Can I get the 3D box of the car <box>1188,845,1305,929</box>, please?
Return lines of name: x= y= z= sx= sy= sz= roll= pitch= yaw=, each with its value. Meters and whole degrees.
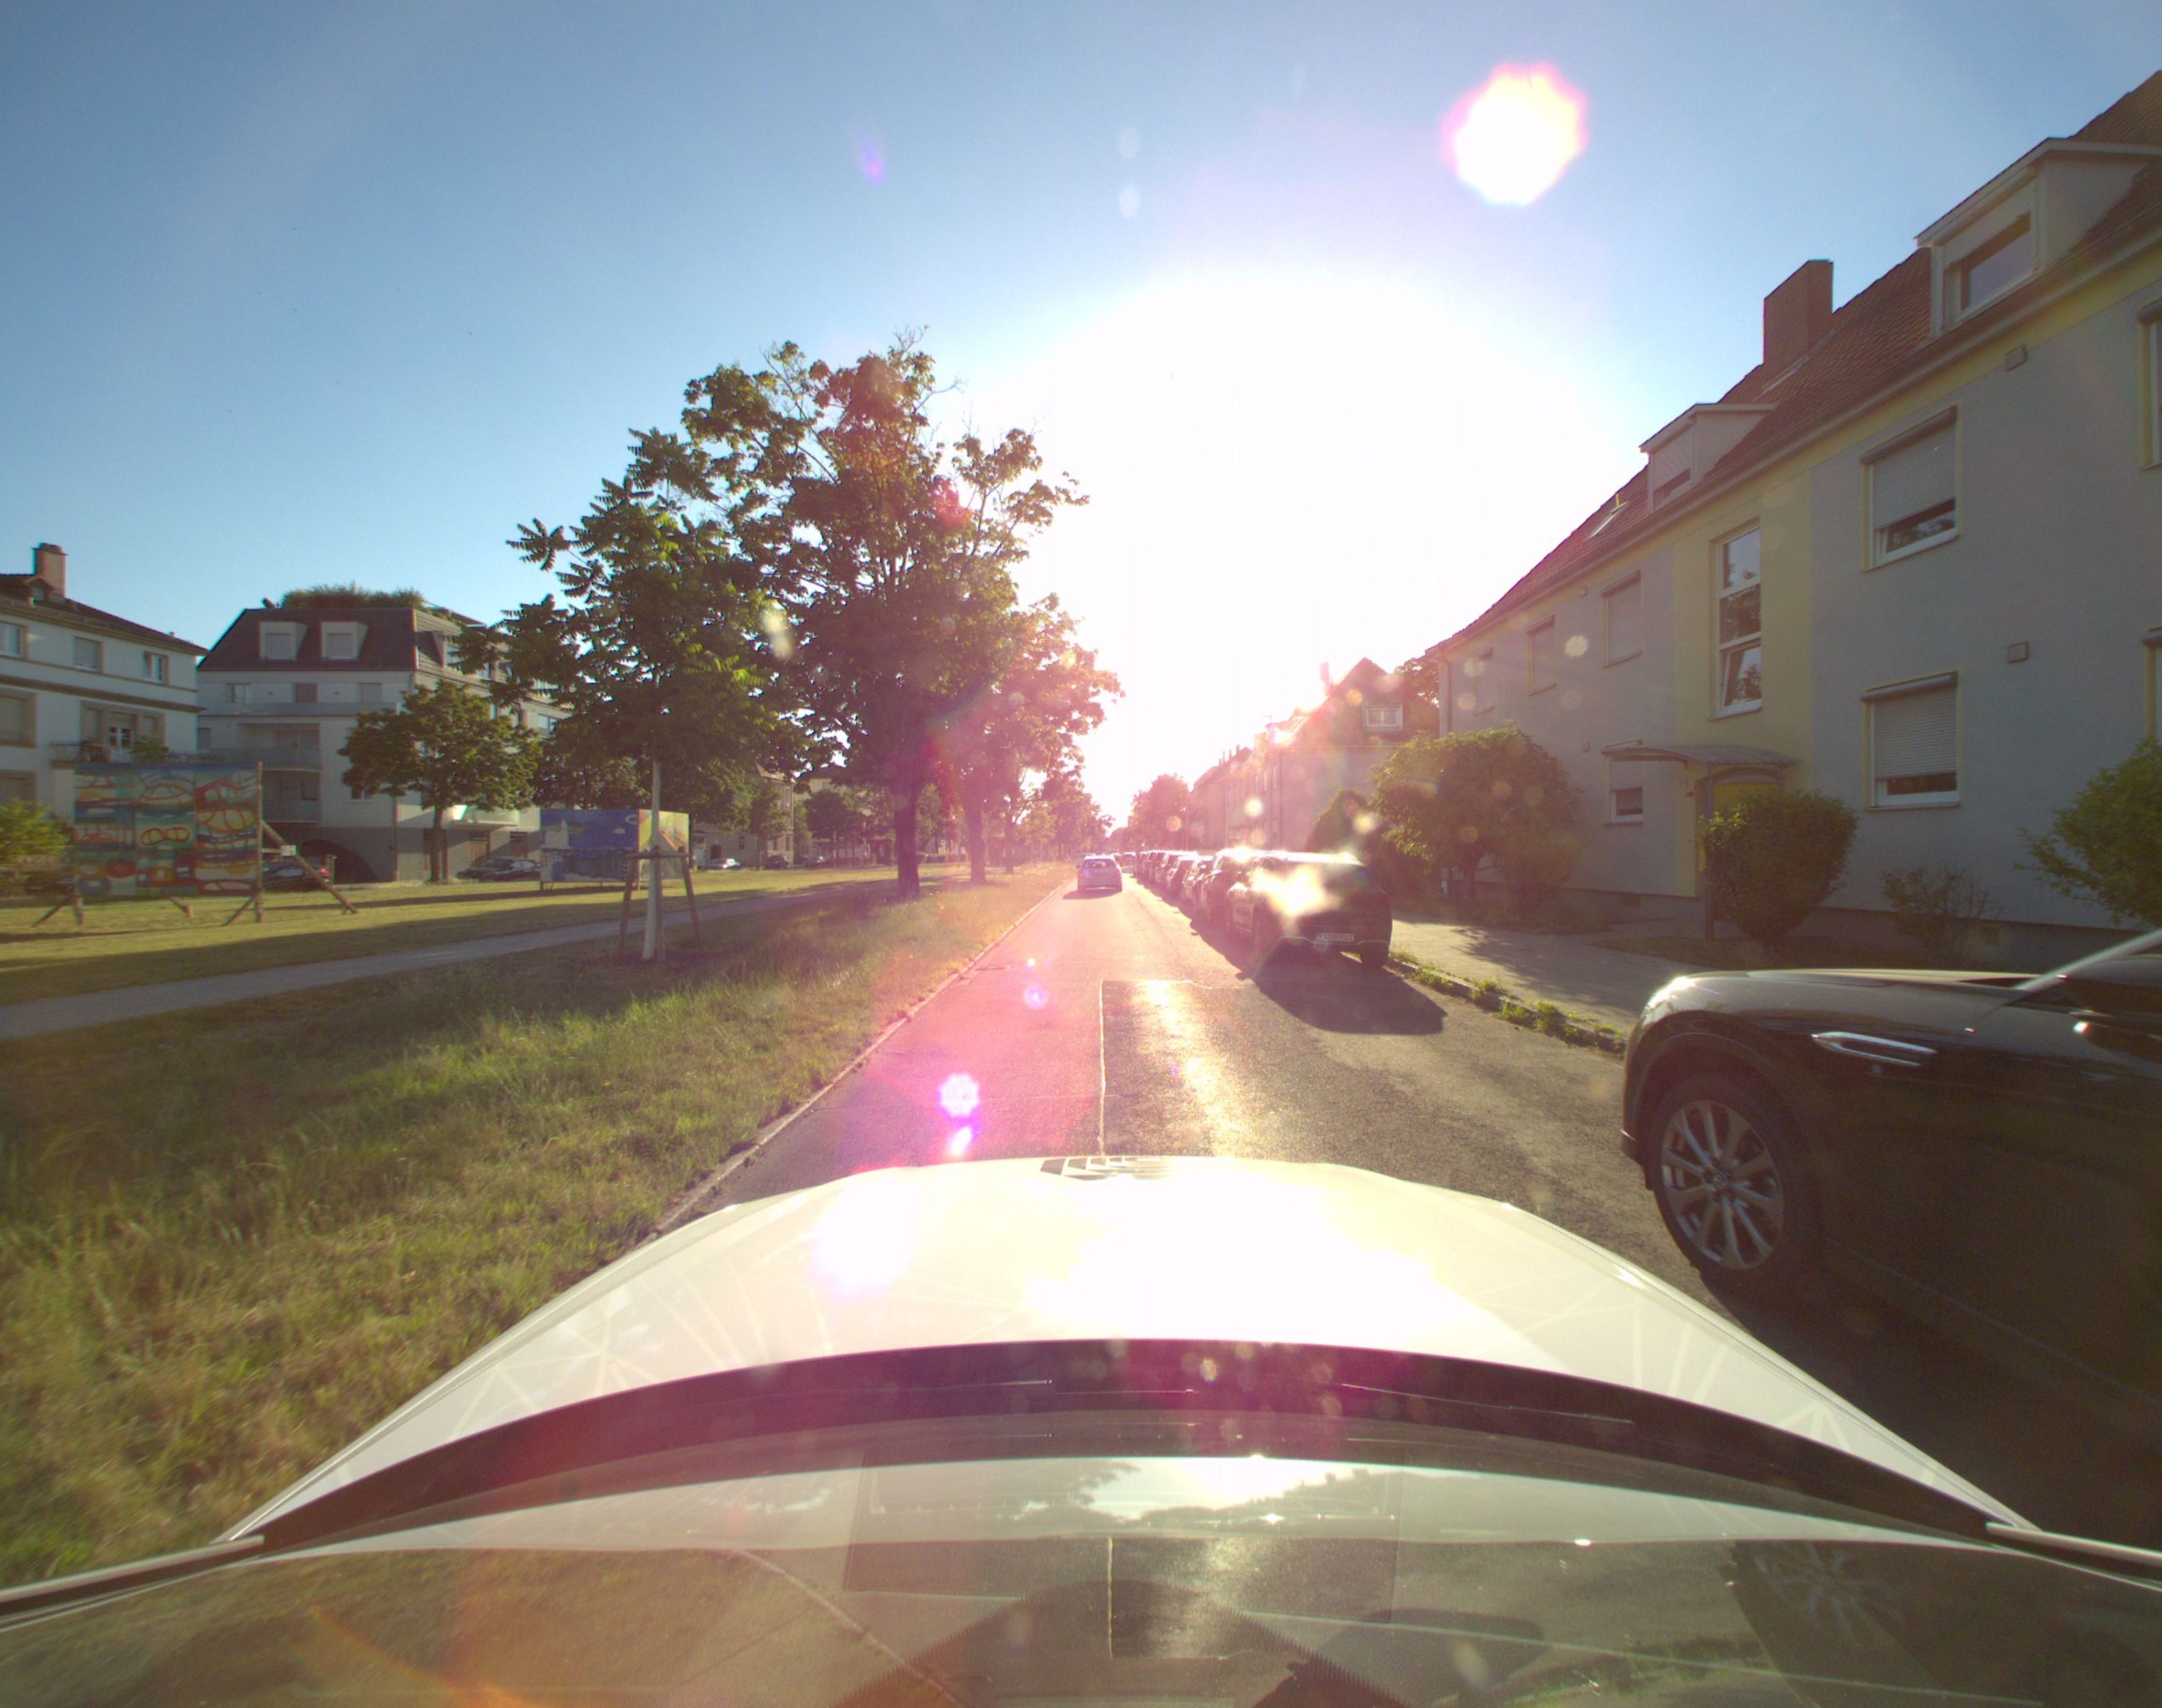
car: x=3.641 y=0.660 z=18.766 sx=1.847 sy=1.657 sz=4.822 roll=1 pitch=0 yaw=2

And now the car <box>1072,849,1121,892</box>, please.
car: x=0.676 y=0.622 z=32.810 sx=1.816 sy=1.566 sz=4.002 roll=-1 pitch=0 yaw=2

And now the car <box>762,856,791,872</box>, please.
car: x=-36.520 y=1.234 z=97.692 sx=1.637 sy=1.707 sz=4.296 roll=-4 pitch=-1 yaw=3

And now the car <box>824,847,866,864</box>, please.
car: x=-38.127 y=0.294 z=131.604 sx=6.332 sy=2.720 sz=1.984 roll=0 pitch=0 yaw=-29

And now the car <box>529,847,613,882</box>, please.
car: x=-32.486 y=0.714 z=52.068 sx=2.013 sy=2.001 sz=5.367 roll=-4 pitch=-1 yaw=-2

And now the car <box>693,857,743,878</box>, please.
car: x=-31.950 y=1.174 z=71.833 sx=1.975 sy=1.637 sz=4.832 roll=-4 pitch=-1 yaw=3

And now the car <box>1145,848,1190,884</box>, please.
car: x=4.173 y=0.606 z=40.004 sx=1.759 sy=1.635 sz=4.765 roll=1 pitch=-1 yaw=1

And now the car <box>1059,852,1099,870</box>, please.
car: x=-0.162 y=0.768 z=84.365 sx=3.874 sy=1.596 sz=2.003 roll=-4 pitch=-1 yaw=5

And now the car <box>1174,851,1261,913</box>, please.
car: x=3.922 y=0.777 z=24.070 sx=1.722 sy=1.548 sz=4.206 roll=4 pitch=-1 yaw=0

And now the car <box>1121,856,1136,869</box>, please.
car: x=5.812 y=1.033 z=99.484 sx=1.715 sy=1.597 sz=4.001 roll=-1 pitch=-1 yaw=2

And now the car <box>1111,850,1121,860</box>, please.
car: x=6.766 y=0.201 z=157.765 sx=1.981 sy=2.023 sz=4.002 roll=0 pitch=0 yaw=2

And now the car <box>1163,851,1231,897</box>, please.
car: x=4.030 y=0.670 z=29.016 sx=1.985 sy=1.462 sz=4.565 roll=1 pitch=0 yaw=3

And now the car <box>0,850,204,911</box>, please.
car: x=-39.025 y=1.019 z=32.674 sx=2.229 sy=2.131 sz=4.856 roll=-4 pitch=-1 yaw=3

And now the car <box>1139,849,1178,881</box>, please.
car: x=4.264 y=0.609 z=45.441 sx=1.771 sy=1.643 sz=4.757 roll=0 pitch=-1 yaw=1

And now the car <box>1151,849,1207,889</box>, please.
car: x=4.040 y=0.601 z=34.194 sx=1.720 sy=1.561 sz=4.414 roll=1 pitch=0 yaw=-1

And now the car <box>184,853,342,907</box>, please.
car: x=-33.019 y=1.035 z=33.075 sx=1.882 sy=1.917 sz=4.328 roll=-4 pitch=-1 yaw=1

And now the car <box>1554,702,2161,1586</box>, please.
car: x=3.038 y=0.589 z=1.198 sx=1.826 sy=1.732 sz=5.032 roll=2 pitch=-1 yaw=1

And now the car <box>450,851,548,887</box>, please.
car: x=-32.472 y=0.841 z=45.635 sx=1.921 sy=1.828 sz=4.693 roll=-4 pitch=-1 yaw=2

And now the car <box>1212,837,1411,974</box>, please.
car: x=3.426 y=0.684 z=13.103 sx=1.926 sy=1.720 sz=4.622 roll=3 pitch=0 yaw=1

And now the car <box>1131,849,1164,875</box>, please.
car: x=4.515 y=0.528 z=55.635 sx=1.712 sy=1.639 sz=4.560 roll=2 pitch=0 yaw=-2
